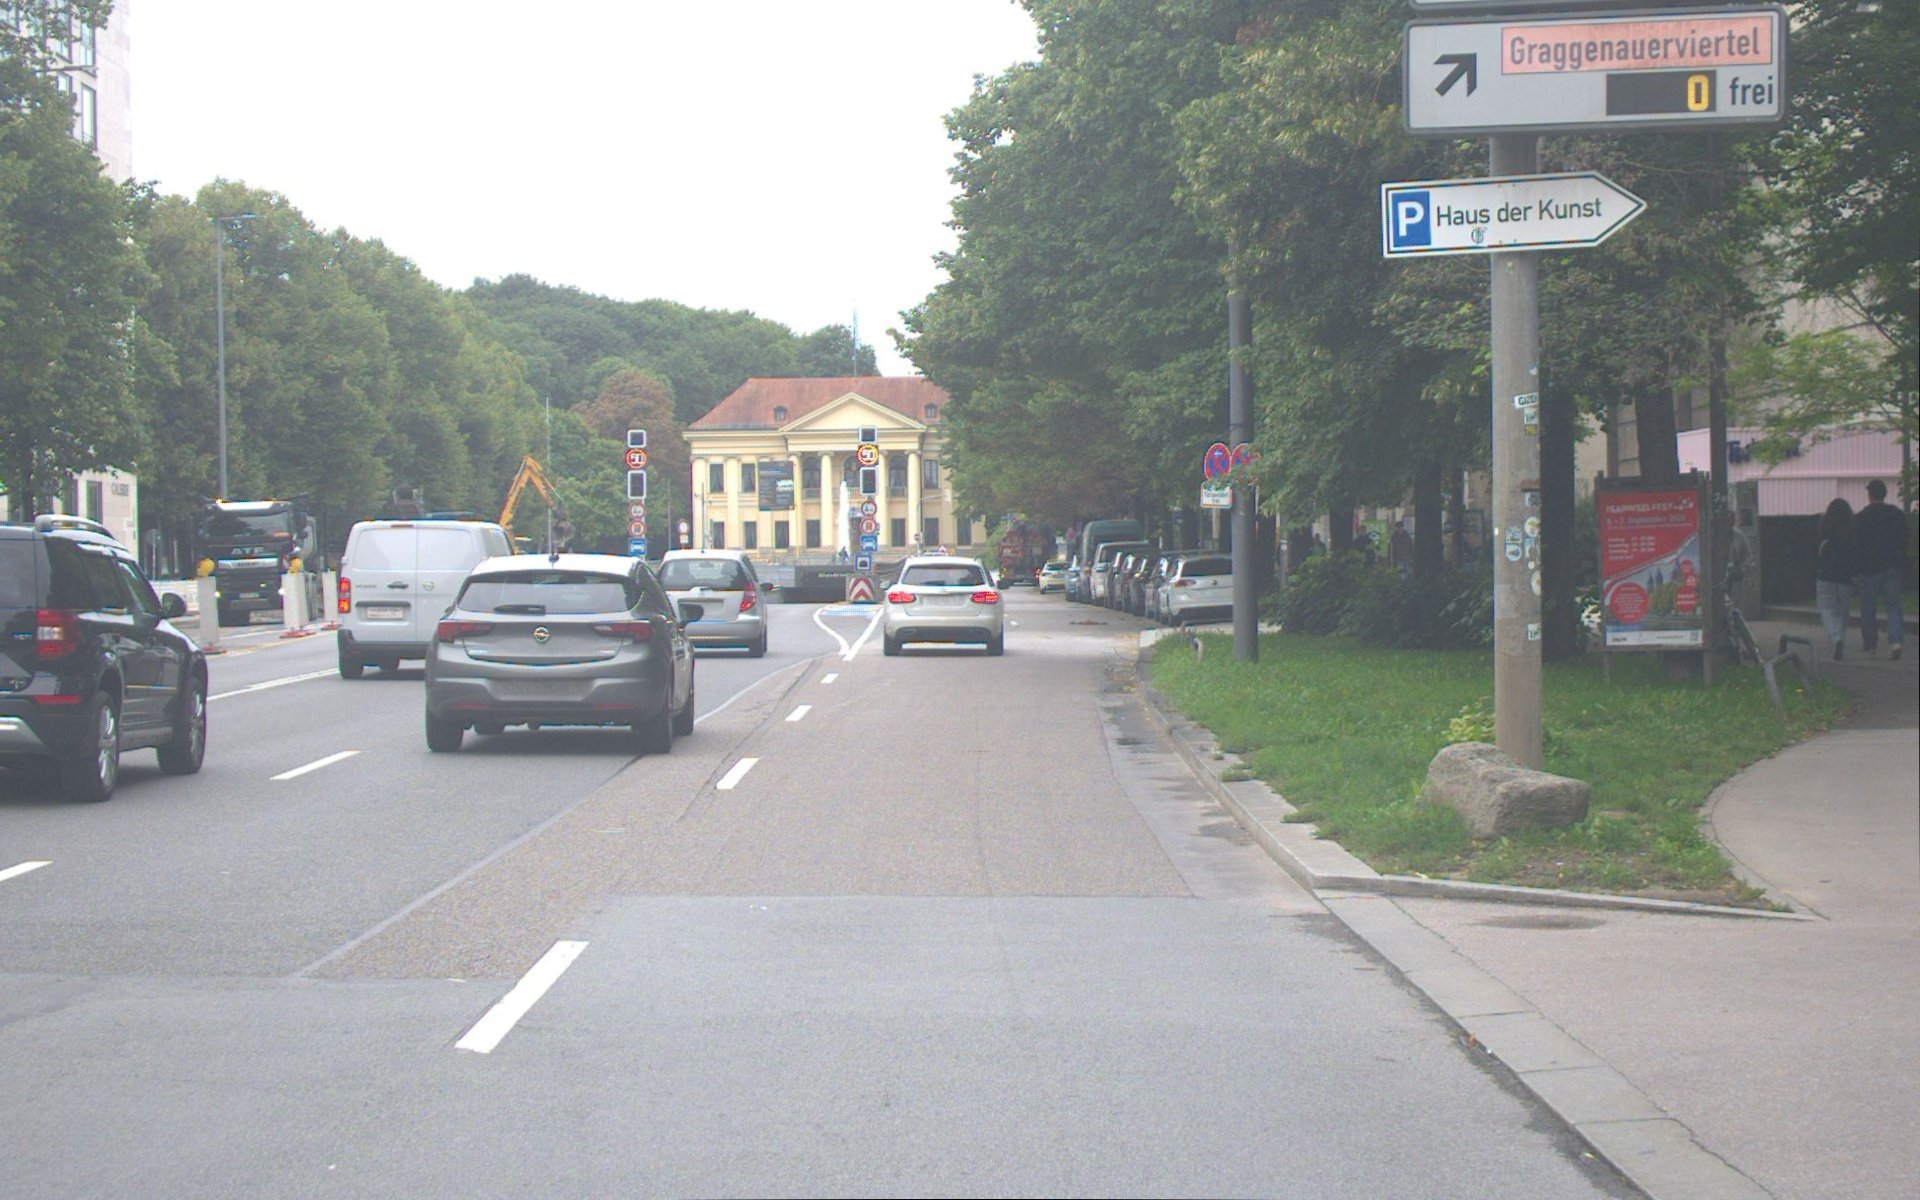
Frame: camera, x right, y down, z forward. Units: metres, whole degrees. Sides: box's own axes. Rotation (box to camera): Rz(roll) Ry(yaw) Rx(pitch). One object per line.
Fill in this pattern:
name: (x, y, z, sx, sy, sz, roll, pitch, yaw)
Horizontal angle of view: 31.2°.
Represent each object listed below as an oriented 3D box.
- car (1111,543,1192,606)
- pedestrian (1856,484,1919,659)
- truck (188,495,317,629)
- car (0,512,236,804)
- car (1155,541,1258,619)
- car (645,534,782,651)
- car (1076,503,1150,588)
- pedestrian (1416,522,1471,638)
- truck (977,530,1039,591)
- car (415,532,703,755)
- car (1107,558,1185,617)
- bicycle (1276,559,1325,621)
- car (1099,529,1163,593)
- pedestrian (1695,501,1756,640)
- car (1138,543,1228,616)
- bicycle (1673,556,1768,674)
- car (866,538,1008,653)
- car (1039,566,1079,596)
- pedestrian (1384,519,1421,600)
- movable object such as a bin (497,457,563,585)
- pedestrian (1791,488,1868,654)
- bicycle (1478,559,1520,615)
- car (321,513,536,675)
car: (4.662, -0.631, 84.012, 1.724, 1.459, 4.776, -1, 1, 1)
pedestrian: (9.517, -0.288, 34.965, 0.608, 1.757, 0.797, 1, 0, 4)
truck: (-18.622, -1.017, 90.849, 2.840, 3.345, 8.767, 1, 1, -9)
car: (-5.793, 0.319, 21.395, 1.722, 1.631, 4.205, -1, 0, -1)
car: (5.110, -0.430, 71.759, 1.827, 1.544, 4.751, -1, 1, 1)
car: (-3.618, -0.126, 50.947, 1.779, 1.648, 4.000, 1, 1, -1)
car: (4.855, -1.739, 109.910, 1.993, 2.634, 4.878, 1, 1, -2)
pedestrian: (7.992, -0.337, 56.875, 0.779, 1.904, 0.771, 1, 0, 1)
truck: (2.702, -2.236, 194.511, 3.325, 3.355, 8.662, 1, 1, 0)
car: (-2.978, 0.284, 26.238, 1.710, 1.547, 4.000, 1, 1, 0)
car: (4.804, -0.341, 89.339, 1.822, 1.459, 4.028, -1, 1, 1)
bicycle: (6.930, -0.214, 70.054, 0.628, 1.227, 2.619, 1, 1, -2)
car: (5.097, -1.164, 102.978, 1.724, 1.861, 4.028, -1, 1, 1)
pedestrian: (9.878, -0.380, 44.374, 0.630, 1.768, 0.782, 1, 0, 4)
car: (4.967, -0.464, 77.000, 1.724, 1.544, 4.585, -1, 1, 1)
bicycle: (6.772, 0.117, 30.684, 0.384, 1.018, 2.079, 1, 1, 0)
car: (-0.390, -0.086, 51.726, 1.779, 1.639, 4.001, 1, 1, -5)
car: (4.487, -0.873, 156.915, 1.724, 1.319, 4.028, -1, 1, 1)
pedestrian: (10.501, -0.951, 81.636, 0.764, 1.904, 0.771, 1, 0, 1)
movable object such as a bin: (-22.229, -4.042, 178.083, 2.699, 6.488, 5.176, 1, 1, 0)
pedestrian: (8.903, -0.299, 35.215, 0.608, 1.675, 0.753, 1, 0, 4)
bicycle: (13.952, -0.342, 88.955, 0.699, 1.410, 2.299, -1, 1, 0)
car: (-6.390, -0.085, 41.843, 1.898, 1.841, 4.956, -1, 0, -1)
